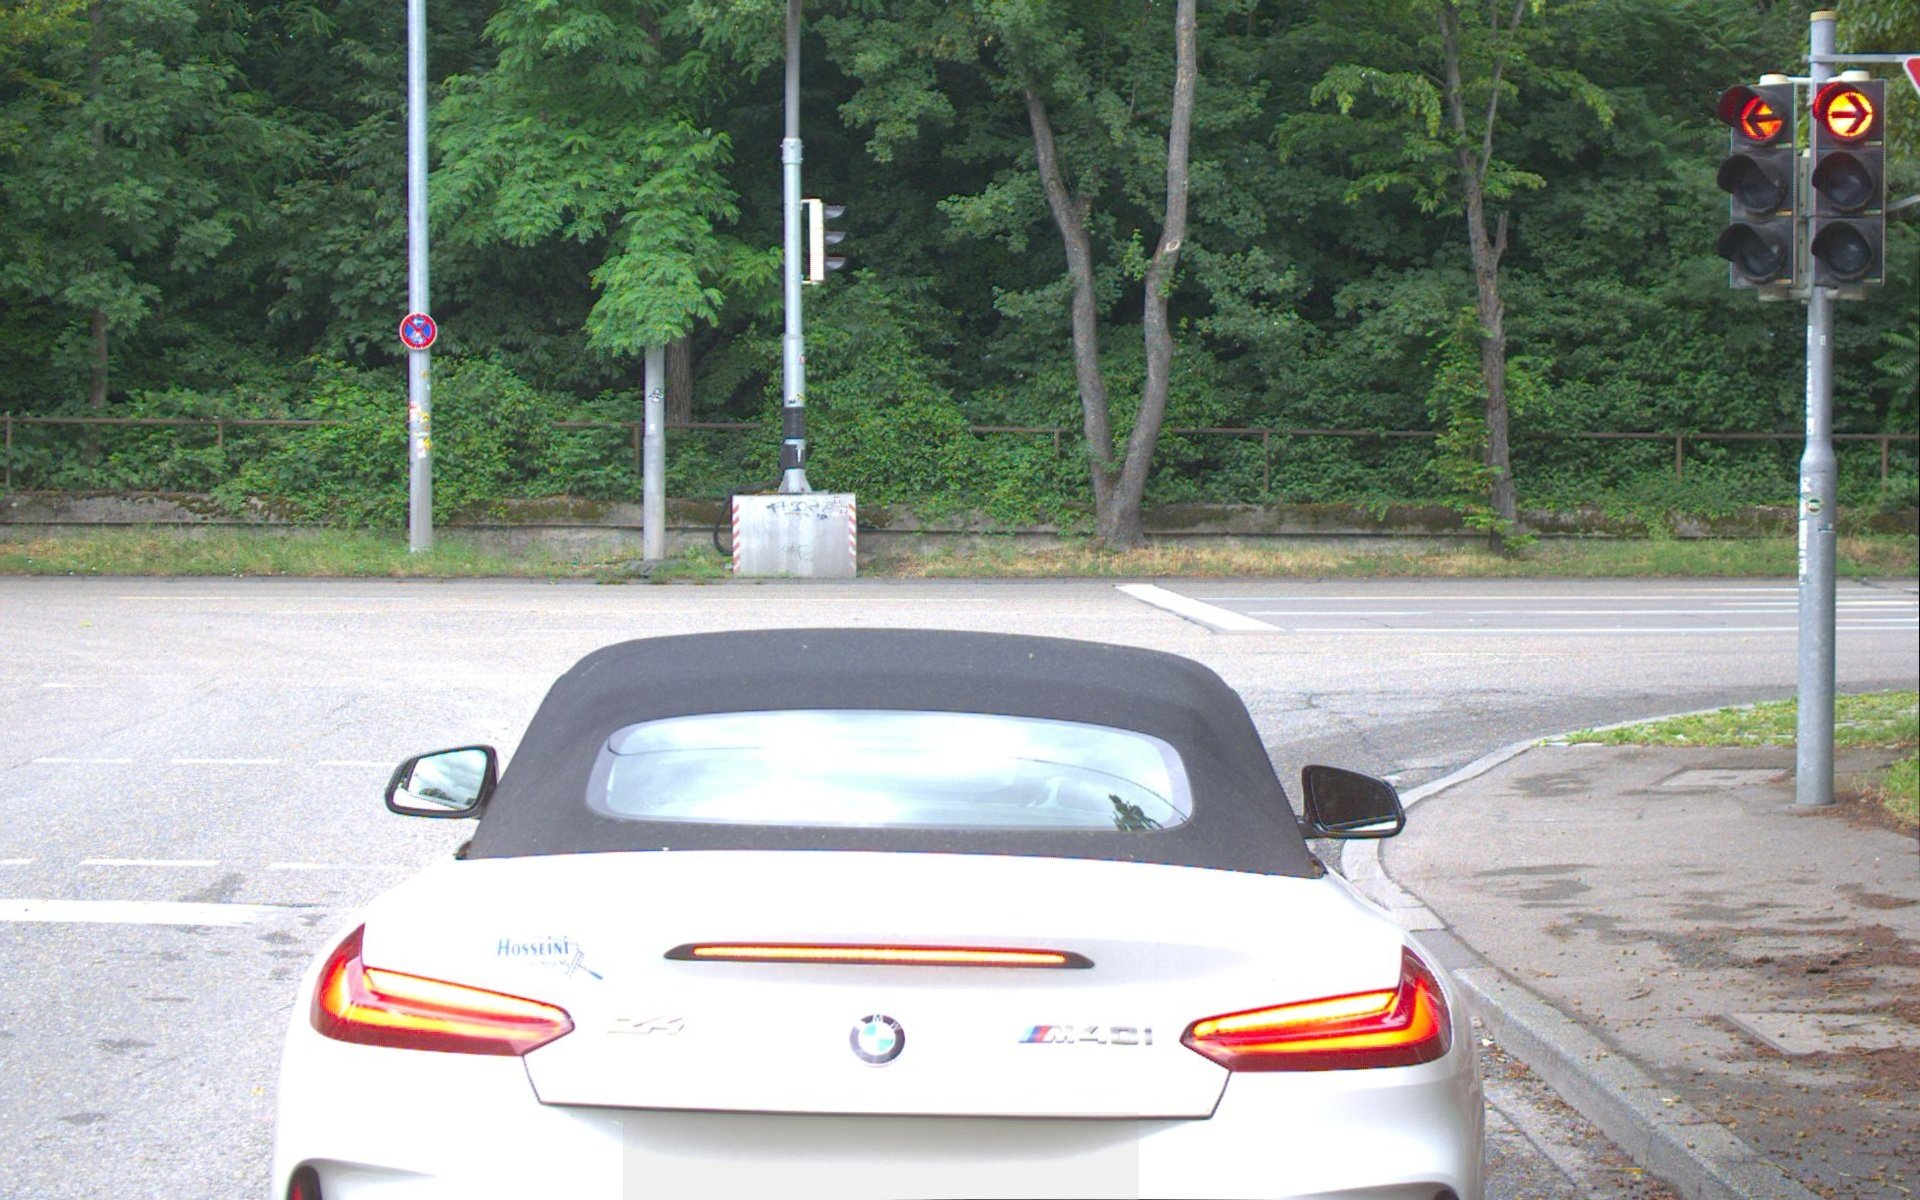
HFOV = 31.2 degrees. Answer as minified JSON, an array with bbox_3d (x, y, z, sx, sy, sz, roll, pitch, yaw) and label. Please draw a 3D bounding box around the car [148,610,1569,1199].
[{"bbox_3d":[-0.223,0.676,6.463,1.827,1.253,4.000,2,0,-3],"label":"car"}]
